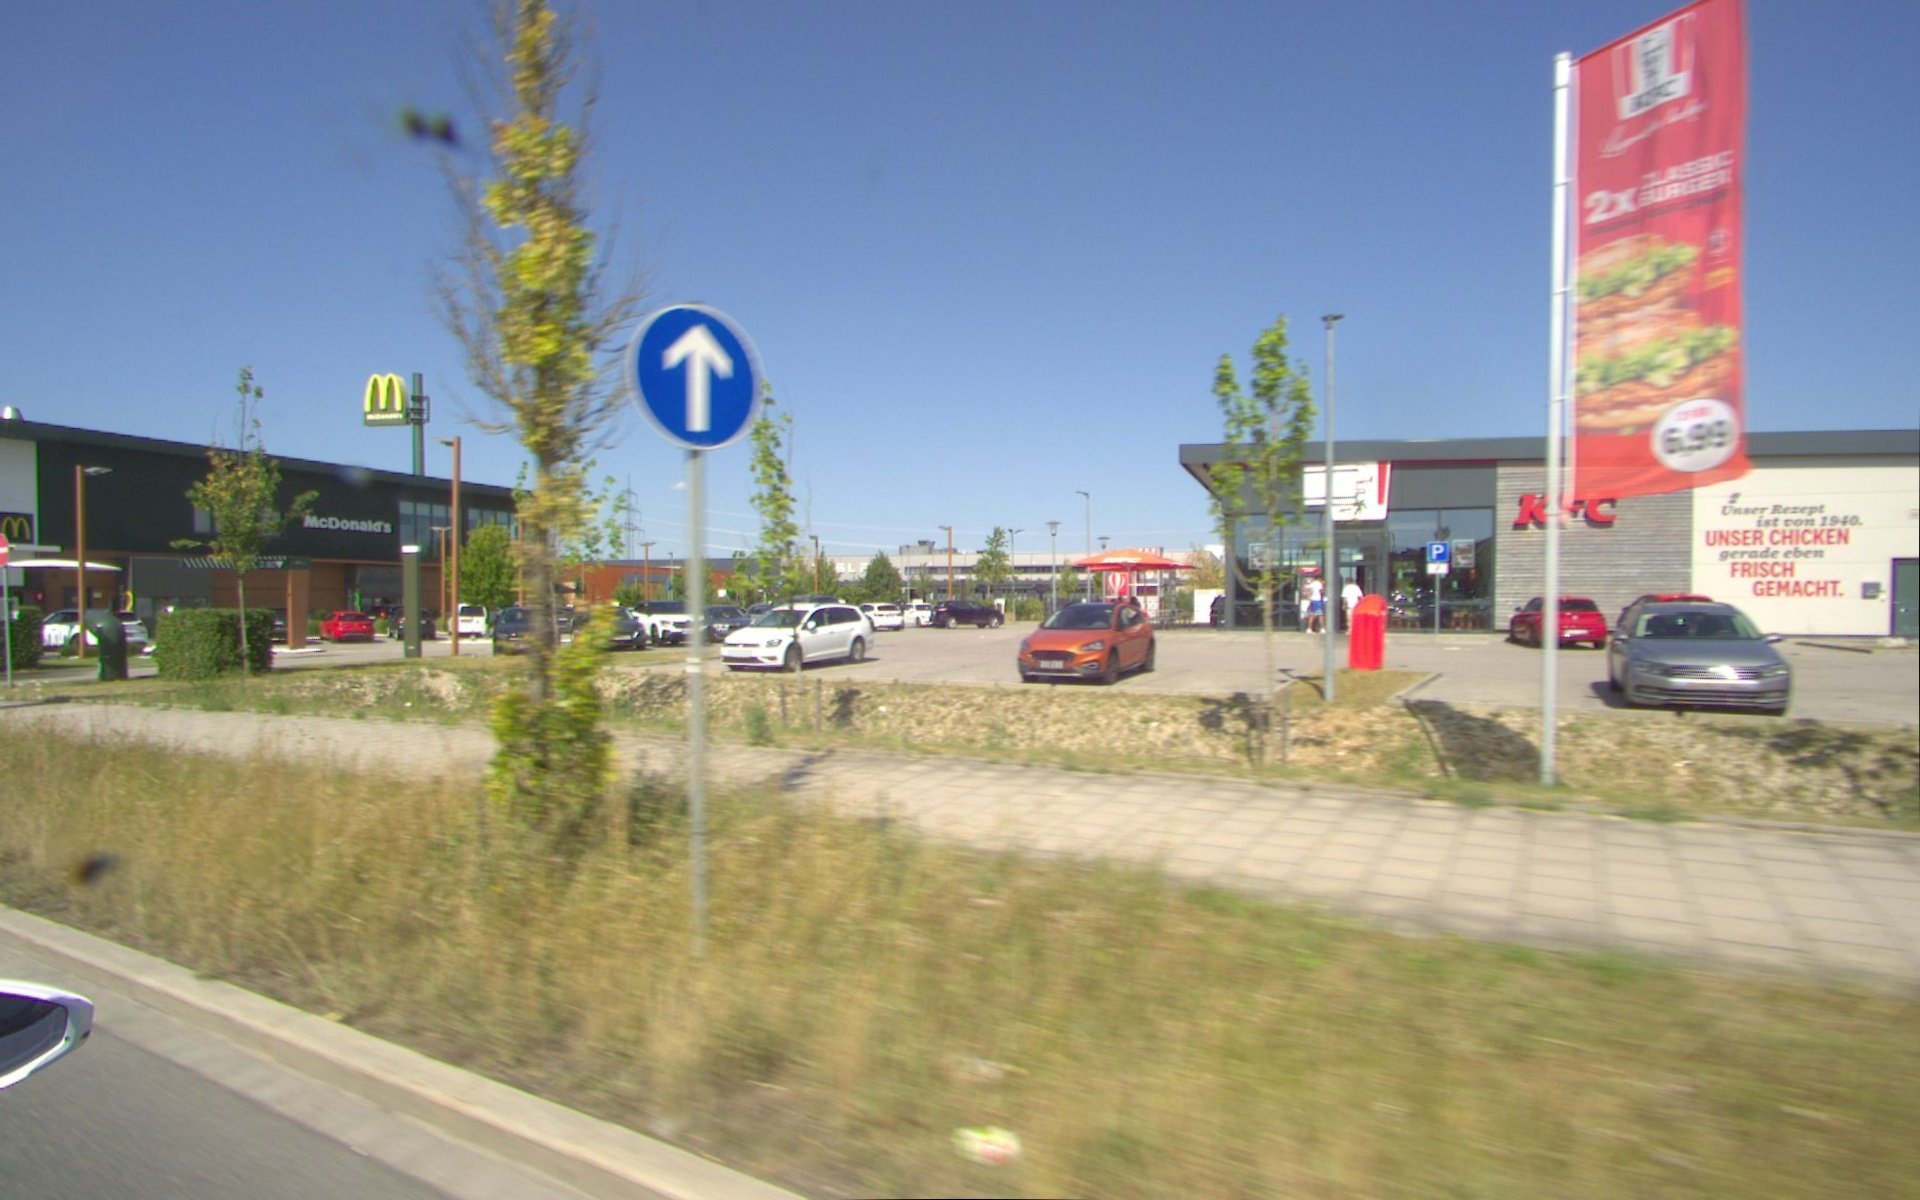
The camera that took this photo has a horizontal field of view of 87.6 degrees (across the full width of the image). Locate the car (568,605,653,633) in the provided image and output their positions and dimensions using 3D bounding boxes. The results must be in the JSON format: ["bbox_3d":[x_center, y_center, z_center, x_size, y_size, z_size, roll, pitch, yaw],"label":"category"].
[{"bbox_3d":[-18.480,0.965,52.891,4.113,1.391,1.792,0,0,-24],"label":"car"}]

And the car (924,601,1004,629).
[{"bbox_3d":[0.242,0.822,56.036,4.101,1.542,1.785,0,0,-23],"label":"car"}]

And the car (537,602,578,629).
[{"bbox_3d":[-24.515,0.935,61.117,1.765,1.541,3.995,-1,0,-14],"label":"car"}]

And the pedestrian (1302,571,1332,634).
[{"bbox_3d":[11.872,0.082,33.257,0.876,2.040,0.913,0,0,24],"label":"pedestrian"}]

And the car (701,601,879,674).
[{"bbox_3d":[-3.881,0.794,23.713,1.839,1.510,4.522,0,1,27],"label":"car"}]

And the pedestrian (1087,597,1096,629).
[{"bbox_3d":[5.238,0.522,40.006,0.287,1.257,0.380,0,1,19],"label":"pedestrian"}]

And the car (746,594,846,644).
[{"bbox_3d":[-5.759,0.649,35.603,1.760,1.657,4.161,0,0,19],"label":"car"}]

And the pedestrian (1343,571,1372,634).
[{"bbox_3d":[13.058,0.078,32.881,0.876,2.040,0.913,0,0,24],"label":"pedestrian"}]

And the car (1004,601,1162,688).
[{"bbox_3d":[2.569,0.795,20.032,1.839,1.510,4.201,0,1,27],"label":"car"}]

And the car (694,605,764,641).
[{"bbox_3d":[-9.132,0.872,39.366,1.764,1.314,4.151,0,0,-27],"label":"car"}]

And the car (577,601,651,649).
[{"bbox_3d":[-11.401,0.778,32.808,1.764,1.481,4.151,0,0,-27],"label":"car"}]

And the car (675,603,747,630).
[{"bbox_3d":[-15.638,1.015,62.853,4.113,1.597,1.792,0,0,-24],"label":"car"}]

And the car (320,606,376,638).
[{"bbox_3d":[-29.152,1.032,47.649,1.778,1.453,3.967,-1,0,-39],"label":"car"}]

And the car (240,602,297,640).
[{"bbox_3d":[-30.764,0.911,44.485,1.778,1.625,3.967,-1,0,-39],"label":"car"}]

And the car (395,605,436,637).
[{"bbox_3d":[-27.803,1.044,51.081,1.772,1.533,3.979,-1,0,-29],"label":"car"}]

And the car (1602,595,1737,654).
[{"bbox_3d":[19.347,0.616,27.553,1.836,1.451,4.560,0,1,20],"label":"car"}]

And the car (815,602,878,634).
[{"bbox_3d":[-5.610,0.865,49.301,1.764,1.470,4.151,0,0,-27],"label":"car"}]

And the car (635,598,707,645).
[{"bbox_3d":[-10.449,0.744,36.015,1.764,1.600,4.151,0,0,-27],"label":"car"}]

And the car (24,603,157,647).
[{"bbox_3d":[-30.210,0.854,34.788,3.930,1.453,1.795,-1,0,20],"label":"car"}]

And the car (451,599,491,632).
[{"bbox_3d":[-26.730,0.818,54.682,1.772,1.724,3.981,-1,0,-28],"label":"car"}]

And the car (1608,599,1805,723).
[{"bbox_3d":[10.892,0.759,14.929,1.841,1.510,4.547,0,1,31],"label":"car"}]

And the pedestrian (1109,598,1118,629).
[{"bbox_3d":[6.214,0.530,40.522,0.287,1.257,0.380,0,1,19],"label":"pedestrian"}]

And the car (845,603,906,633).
[{"bbox_3d":[-4.459,0.912,52.426,1.764,1.470,4.151,0,0,-27],"label":"car"}]

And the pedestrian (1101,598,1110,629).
[{"bbox_3d":[5.917,0.531,40.617,0.287,1.257,0.380,0,1,19],"label":"pedestrian"}]

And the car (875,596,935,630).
[{"bbox_3d":[-3.050,0.682,54.885,1.764,1.780,4.151,0,0,-27],"label":"car"}]

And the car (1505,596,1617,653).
[{"bbox_3d":[16.845,0.622,28.303,1.836,1.451,4.560,0,1,20],"label":"car"}]

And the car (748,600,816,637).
[{"bbox_3d":[-7.671,0.769,42.912,1.764,1.470,4.151,0,0,-27],"label":"car"}]

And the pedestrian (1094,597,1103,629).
[{"bbox_3d":[5.527,0.521,39.922,0.287,1.257,0.380,0,1,19],"label":"pedestrian"}]

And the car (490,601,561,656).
[{"bbox_3d":[-12.743,0.782,29.228,1.676,1.481,4.151,0,0,-27],"label":"car"}]

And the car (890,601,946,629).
[{"bbox_3d":[-2.493,0.864,59.112,1.764,1.542,4.151,0,0,-27],"label":"car"}]
